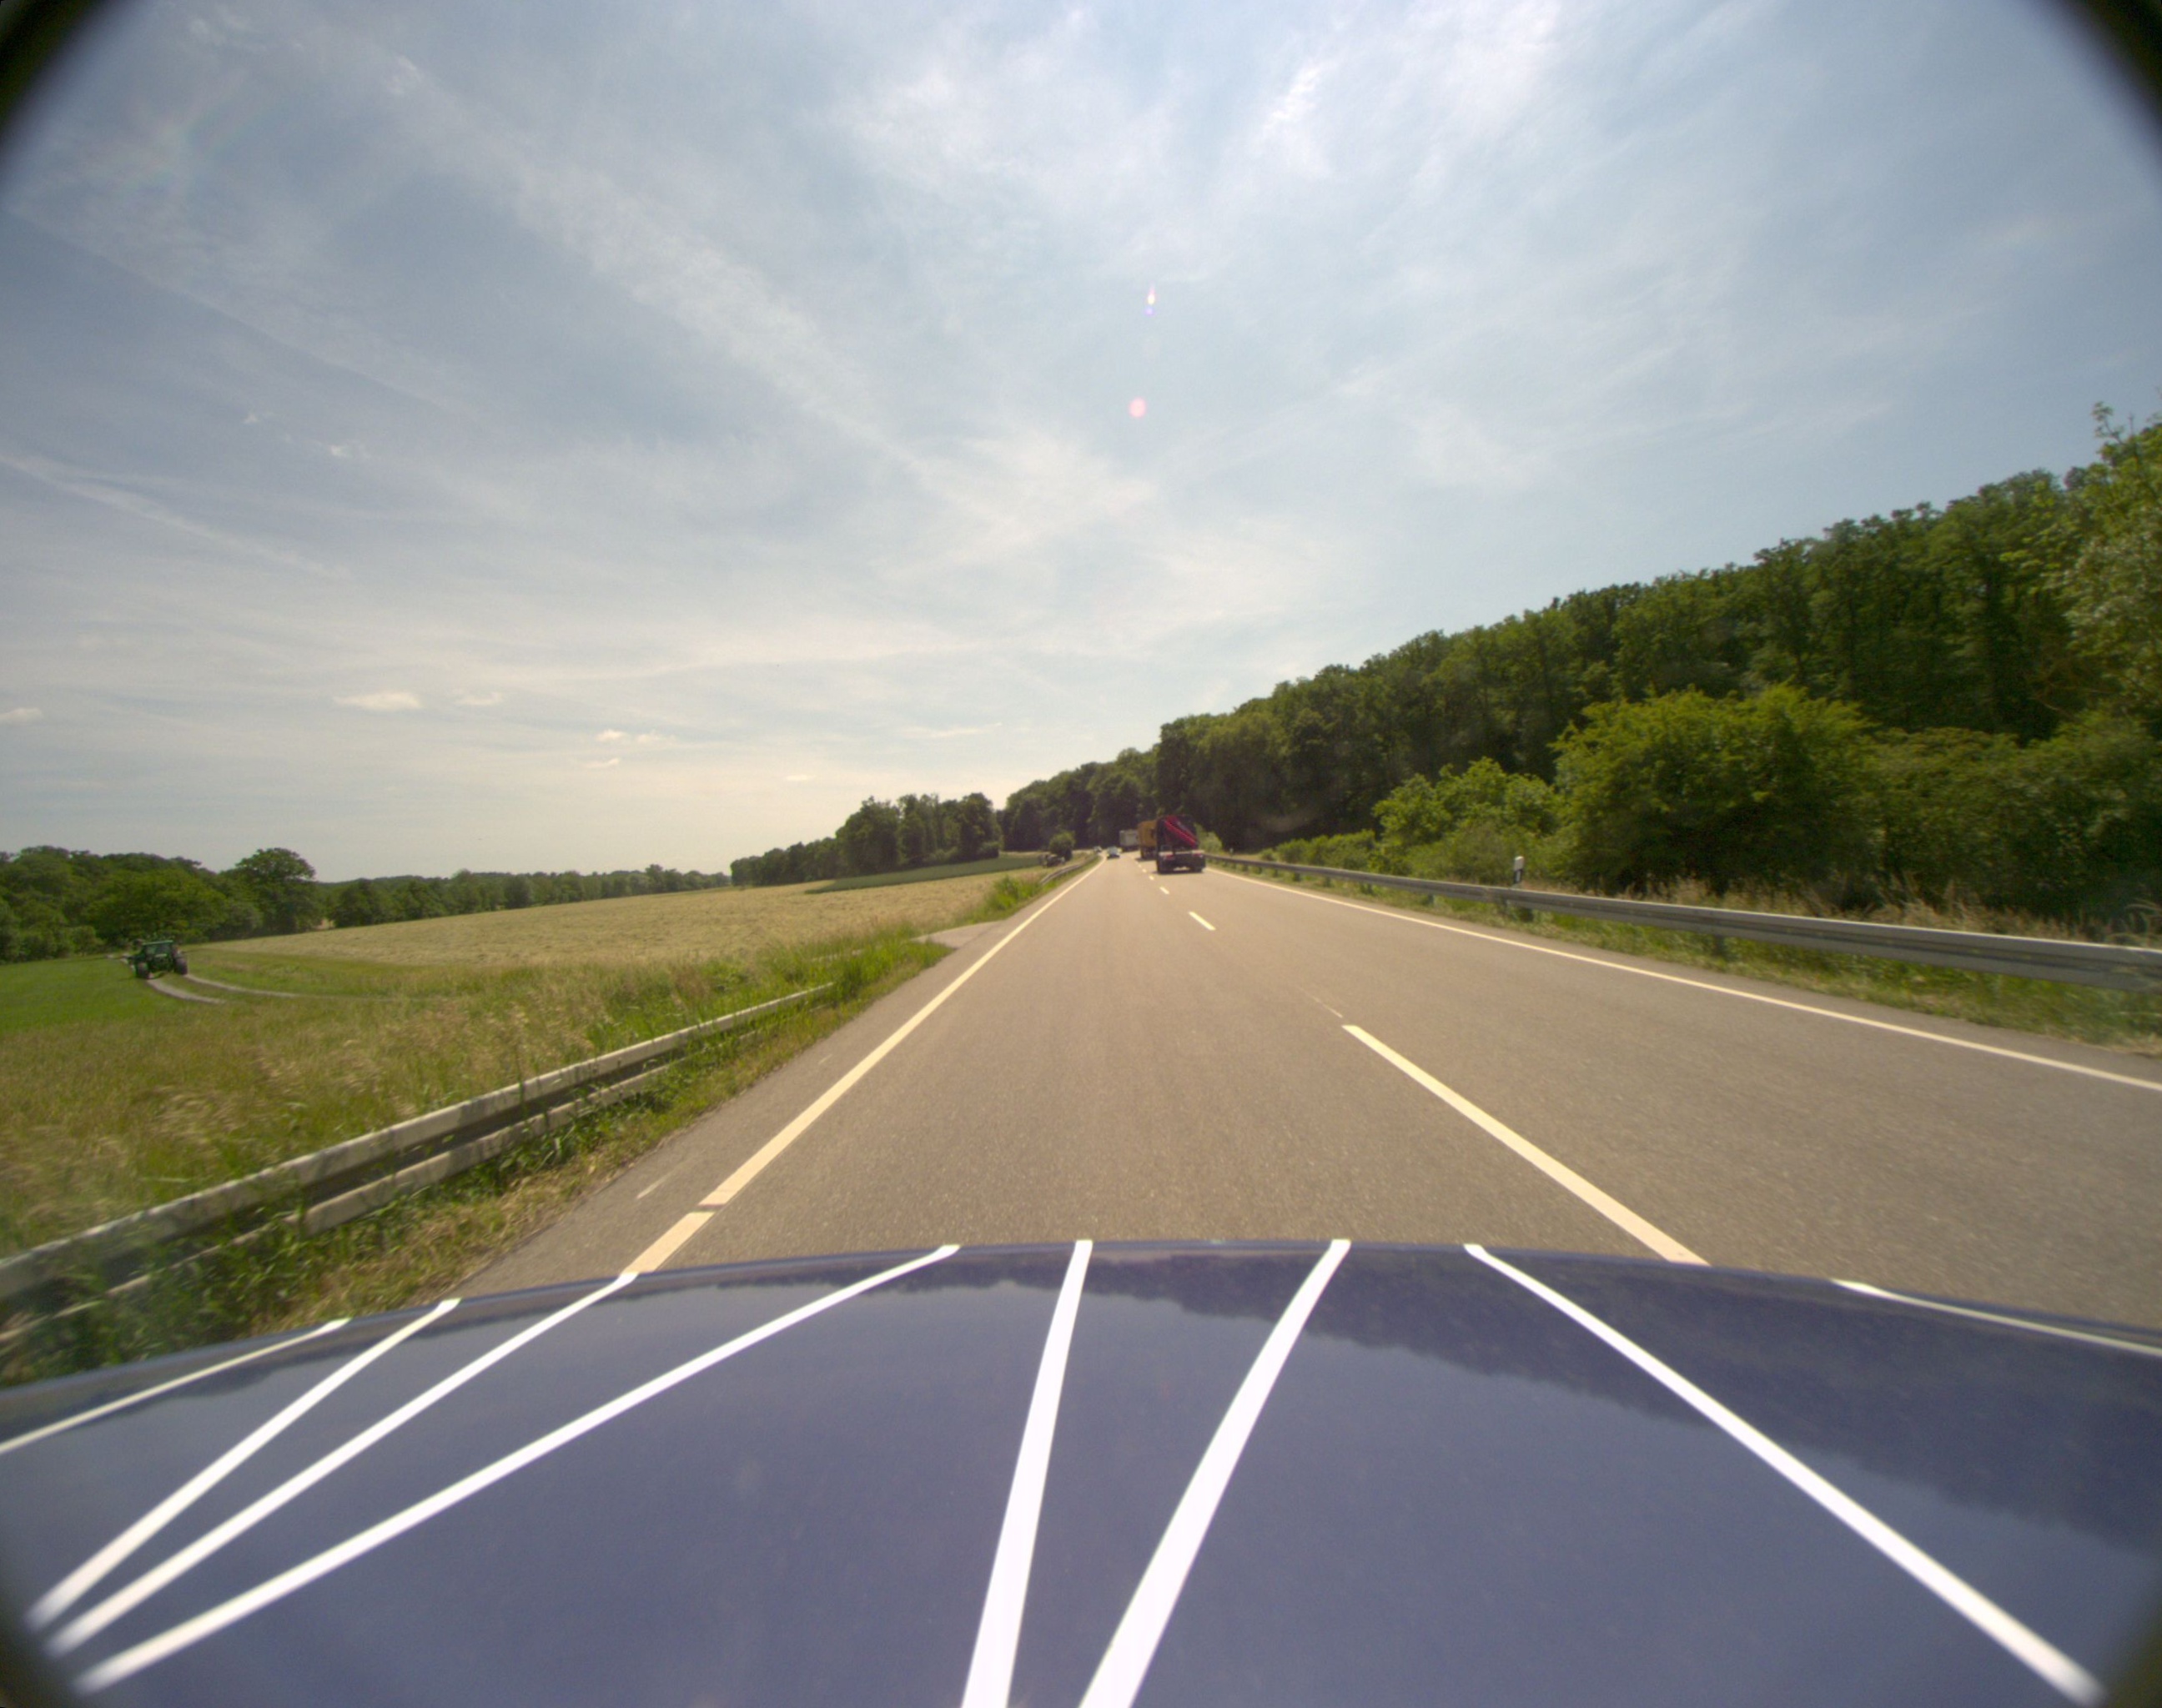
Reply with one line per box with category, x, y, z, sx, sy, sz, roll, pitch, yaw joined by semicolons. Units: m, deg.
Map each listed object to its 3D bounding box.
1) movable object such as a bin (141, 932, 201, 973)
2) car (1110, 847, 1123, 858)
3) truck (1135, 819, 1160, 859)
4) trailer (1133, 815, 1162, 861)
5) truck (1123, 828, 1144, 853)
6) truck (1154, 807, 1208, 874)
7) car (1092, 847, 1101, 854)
movable object such as a bin;-71.729;7.771;59.837;6.211;2.854;1.956;-4;1;31
car;5.003;-0.285;107.049;1.621;1.428;3.444;-3;0;4
truck;8.078;-1.822;92.663;2.709;4.493;6.465;-4;1;5
trailer;7.411;-1.725;84.658;2.709;4.492;14.259;-4;0;5
truck;10.045;-2.592;146.473;3.182;4.493;13.319;-3;1;1
truck;6.132;-0.826;47.873;2.709;3.629;10.102;-3;1;5
car;3.412;-0.794;165.172;1.622;1.428;3.441;-3;0;-4
